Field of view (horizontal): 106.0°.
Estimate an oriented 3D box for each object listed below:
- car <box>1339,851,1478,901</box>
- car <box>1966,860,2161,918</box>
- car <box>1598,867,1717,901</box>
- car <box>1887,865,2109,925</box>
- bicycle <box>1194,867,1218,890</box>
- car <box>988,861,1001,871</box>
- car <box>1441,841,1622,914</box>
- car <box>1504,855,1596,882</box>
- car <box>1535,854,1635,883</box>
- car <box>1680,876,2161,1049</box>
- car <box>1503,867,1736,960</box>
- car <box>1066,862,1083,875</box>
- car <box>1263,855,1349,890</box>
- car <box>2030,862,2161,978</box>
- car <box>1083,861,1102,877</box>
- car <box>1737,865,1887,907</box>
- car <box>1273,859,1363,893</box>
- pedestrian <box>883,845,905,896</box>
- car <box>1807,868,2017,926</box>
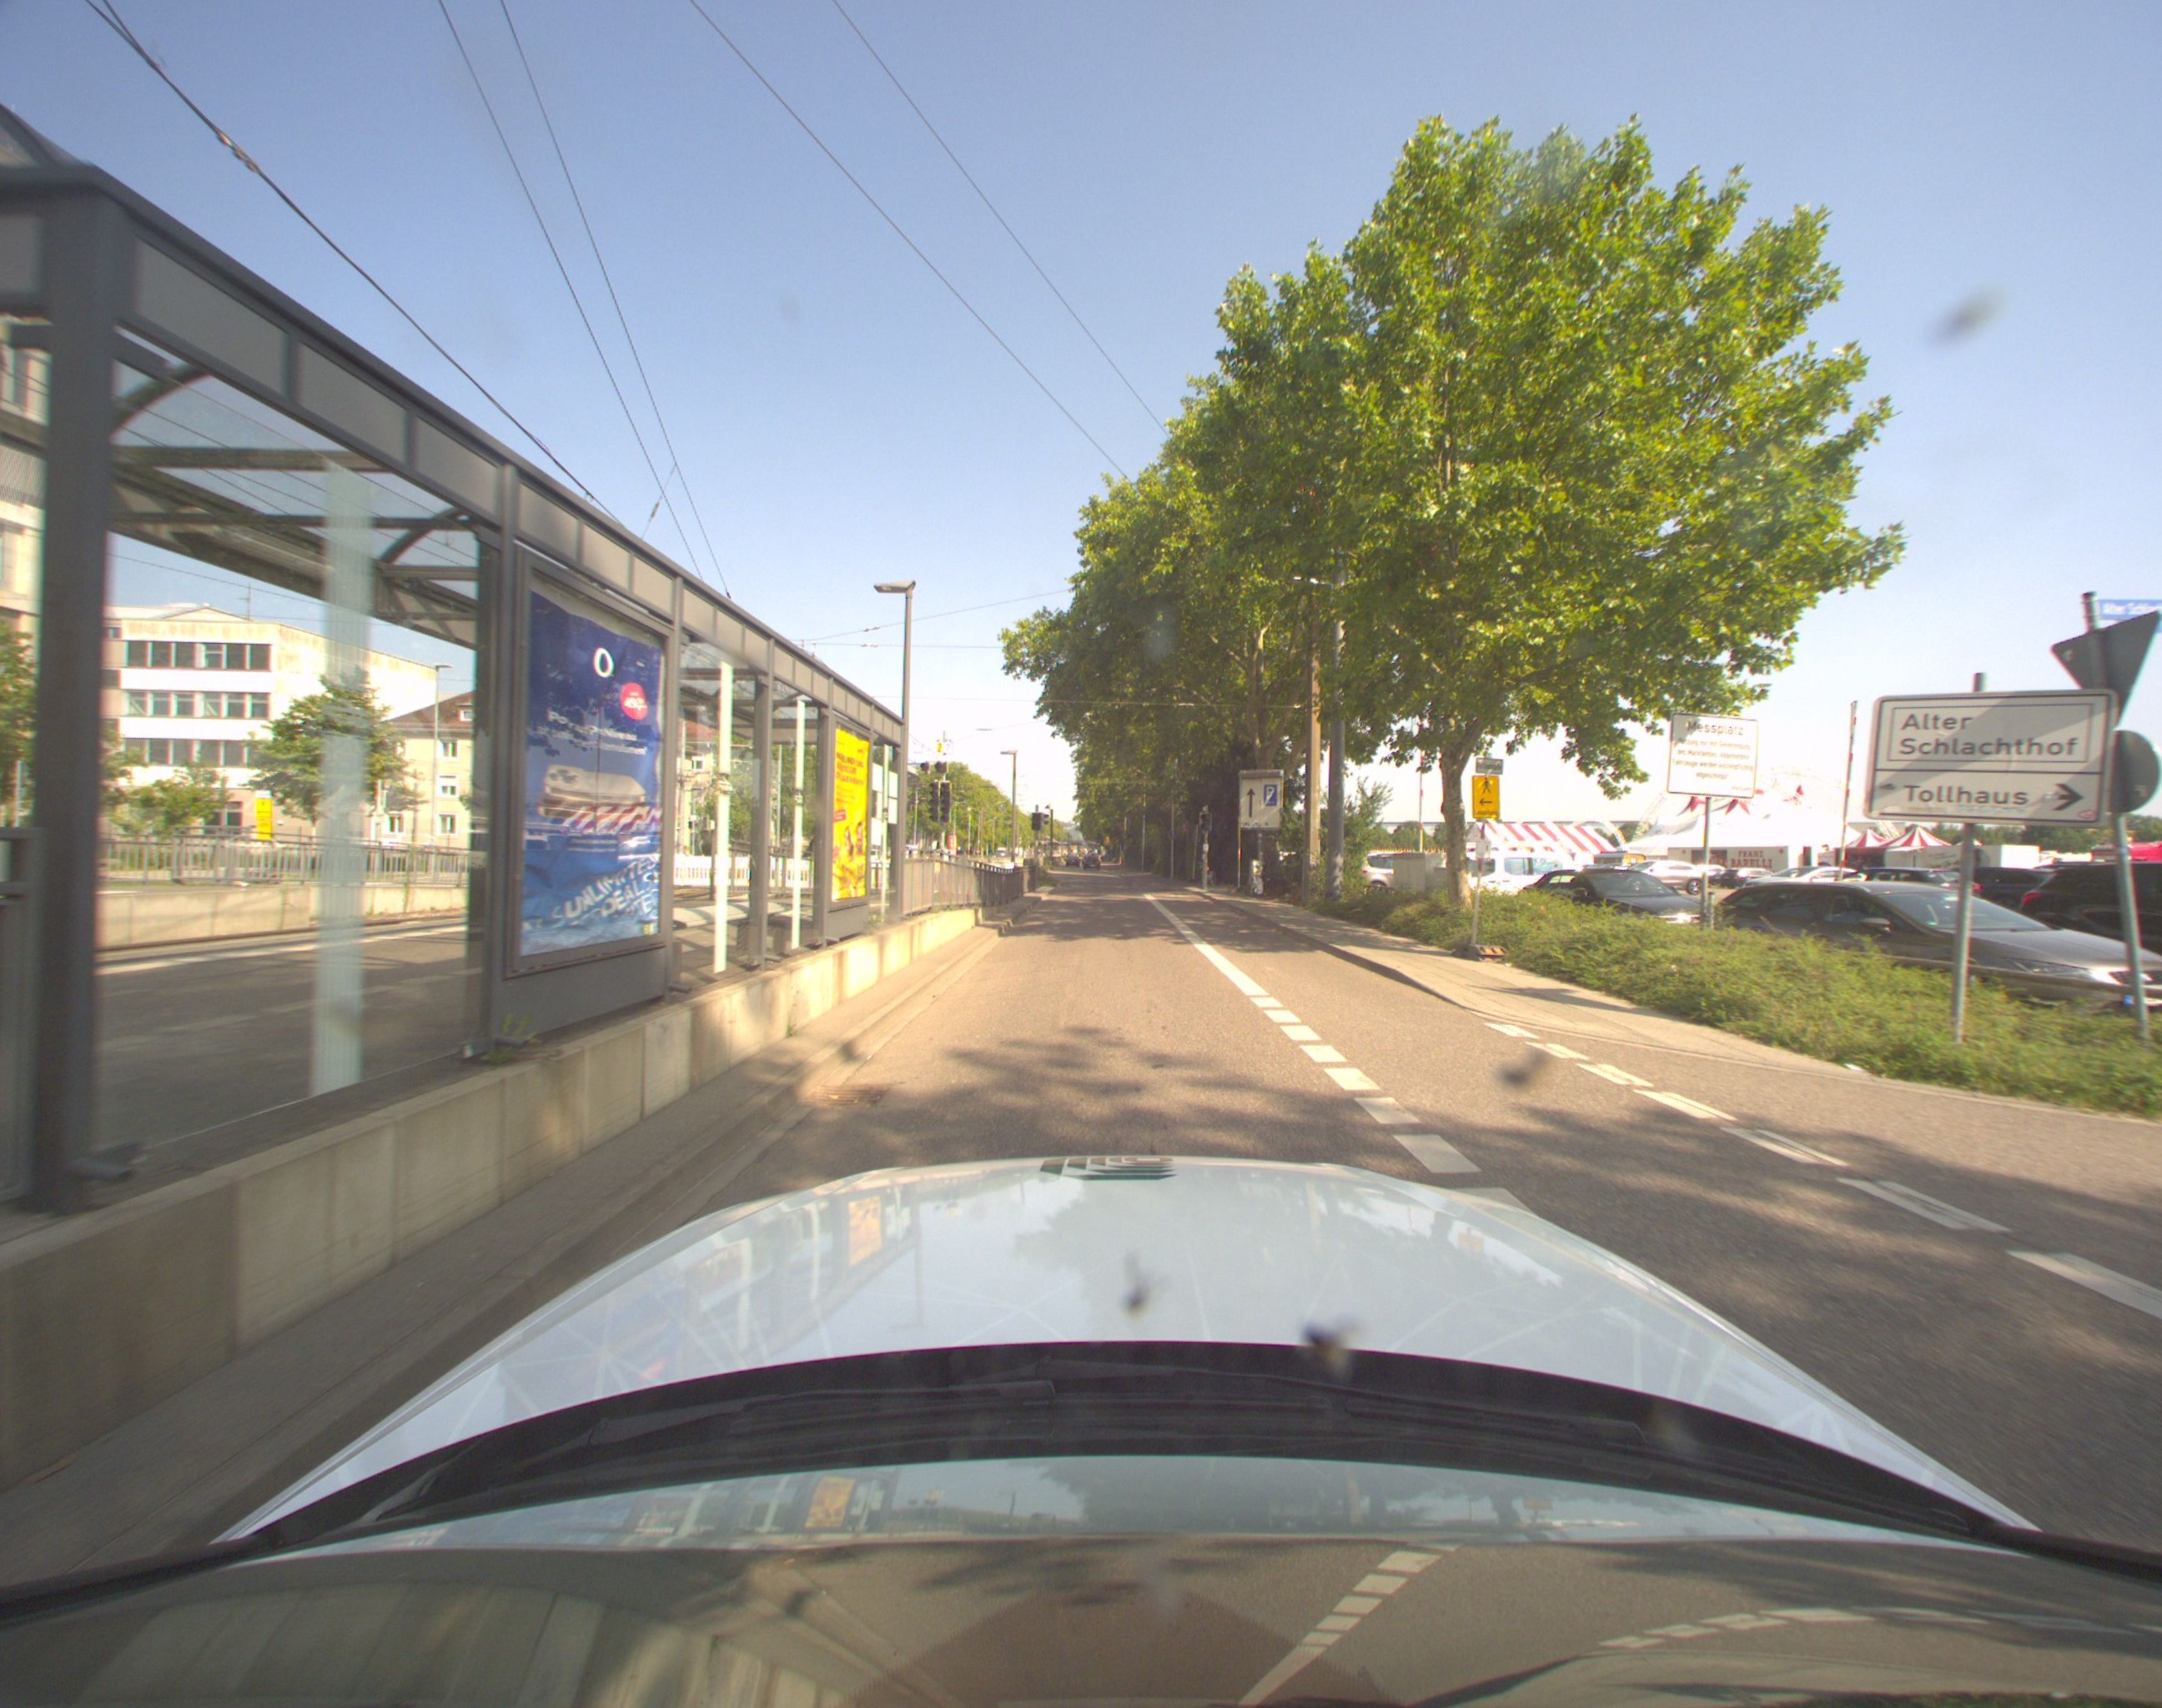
[{"bbox_3d":[11.208,0.731,28.086,3.975,1.587,1.999,1,0,-1],"label":"car"},{"bbox_3d":[28.855,0.967,23.666,1.807,1.492,4.116,1,0,0],"label":"car"},{"bbox_3d":[28.034,1.440,39.709,4.372,1.464,1.949,1,-1,4],"label":"car"},{"bbox_3d":[26.150,1.097,23.477,1.807,1.492,4.116,1,0,0],"label":"car"},{"bbox_3d":[5.891,1.125,38.546,0.609,1.022,2.399,1,0,-3],"label":"bicycle"},{"bbox_3d":[-16.465,2.327,154.854,1.987,1.838,3.999,-2,-1,0],"label":"car"},{"bbox_3d":[12.632,0.642,23.037,4.086,1.918,1.849,-1,0,3],"label":"car"},{"bbox_3d":[27.723,0.843,48.222,4.332,1.464,1.946,1,0,-2],"label":"car"},{"bbox_3d":[27.593,0.771,44.660,4.332,1.464,1.946,1,0,-2],"label":"car"},{"bbox_3d":[9.664,1.052,9.726,1.722,1.448,4.551,0,0,1],"label":"car"},{"bbox_3d":[9.853,1.009,15.355,1.722,1.448,4.117,0,0,1],"label":"car"},{"bbox_3d":[-0.826,1.765,101.474,1.967,1.537,3.999,-3,0,-1],"label":"car"},{"bbox_3d":[11.925,0.971,43.348,3.975,1.724,1.999,1,0,-1],"label":"car"},{"bbox_3d":[15.742,0.919,10.938,1.602,1.575,3.797,0,0,1],"label":"car"},{"bbox_3d":[1.174,1.547,85.473,1.901,1.537,3.999,-1,0,0],"label":"car"},{"bbox_3d":[28.148,1.216,31.459,3.969,1.464,1.949,1,-1,4],"label":"car"},{"bbox_3d":[11.872,1.100,40.970,3.975,1.586,1.999,1,0,-1],"label":"car"},{"bbox_3d":[-6.723,0.598,29.270,0.707,1.821,0.770,-1,-2,-9],"label":"pedestrian"},{"bbox_3d":[23.370,1.161,23.171,1.807,1.395,4.116,1,0,0],"label":"car"}]
